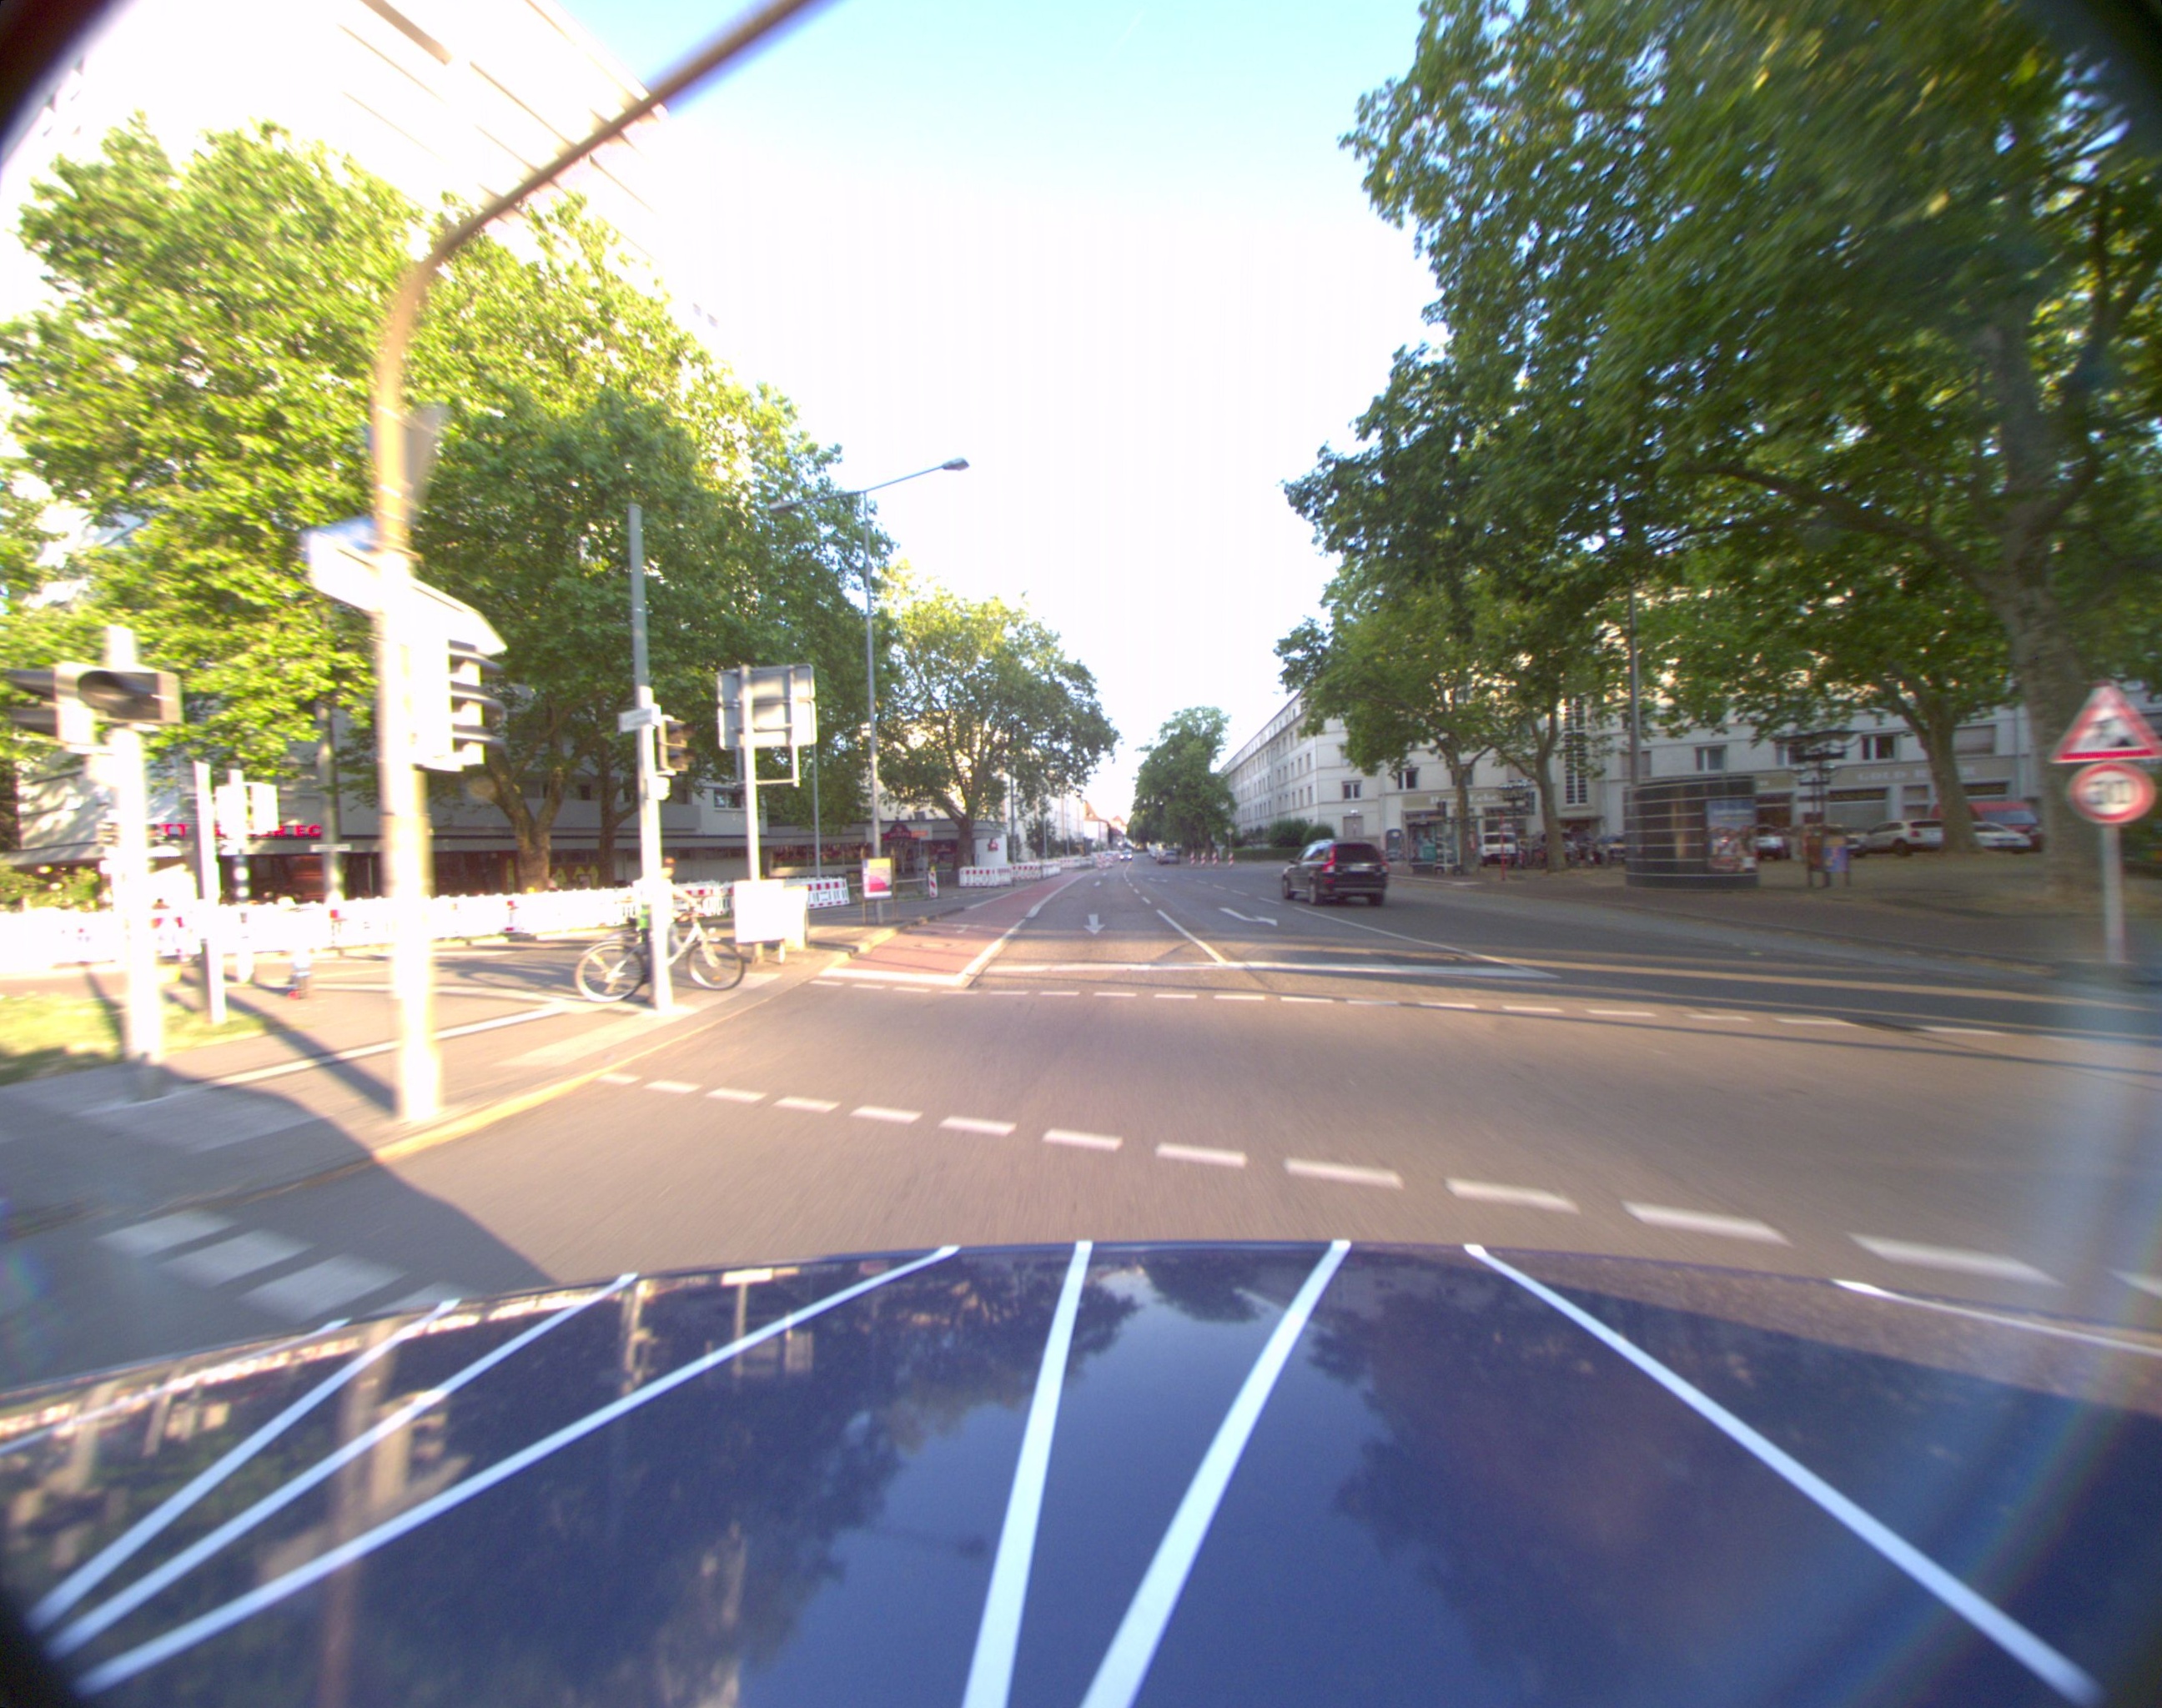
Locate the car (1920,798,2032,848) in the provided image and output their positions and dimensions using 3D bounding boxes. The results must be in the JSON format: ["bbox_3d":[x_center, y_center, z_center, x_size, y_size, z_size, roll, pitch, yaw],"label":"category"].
[{"bbox_3d":[46.932,-1.666,40.018,1.995,2.429,4.646,-1,3,25],"label":"car"}]

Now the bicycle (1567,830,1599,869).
[{"bbox_3d":[22.249,-0.224,33.712,0.808,1.605,2.749,-3,2,27],"label":"bicycle"}]

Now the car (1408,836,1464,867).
[{"bbox_3d":[18.845,-0.117,40.540,1.996,1.494,4.646,-1,0,16],"label":"car"}]

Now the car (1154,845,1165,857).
[{"bbox_3d":[13.908,-0.562,134.176,1.892,1.855,4.260,-3,1,7],"label":"car"}]

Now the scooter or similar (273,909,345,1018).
[{"bbox_3d":[-9.969,1.370,9.802,1.231,1.242,0.516,-2,2,42],"label":"scooter or similar"}]

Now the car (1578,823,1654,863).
[{"bbox_3d":[25.949,-0.489,37.028,1.995,1.771,4.648,-1,0,22],"label":"car"}]

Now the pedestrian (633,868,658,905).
[{"bbox_3d":[-19.484,1.452,34.025,0.641,1.579,0.746,-4,2,-8],"label":"pedestrian"}]

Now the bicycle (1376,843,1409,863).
[{"bbox_3d":[20.273,-0.088,49.457,1.802,1.199,0.648,-2,2,34],"label":"bicycle"}]

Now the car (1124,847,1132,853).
[{"bbox_3d":[13.694,-1.124,222.473,1.892,1.591,4.260,-3,1,7],"label":"car"}]

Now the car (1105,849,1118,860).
[{"bbox_3d":[5.131,0.092,127.167,1.892,1.591,4.260,-3,1,7],"label":"car"}]

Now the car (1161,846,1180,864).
[{"bbox_3d":[9.417,0.084,80.164,1.892,1.591,4.001,-3,1,7],"label":"car"}]

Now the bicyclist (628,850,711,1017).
[{"bbox_3d":[-4.791,0.884,8.839,0.700,1.814,0.627,-4,2,-30],"label":"bicyclist"}]

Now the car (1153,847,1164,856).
[{"bbox_3d":[14.651,-0.457,143.836,1.892,1.591,4.260,-3,1,7],"label":"car"}]

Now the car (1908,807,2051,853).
[{"bbox_3d":[37.918,-0.952,32.269,1.995,1.771,4.648,-1,0,22],"label":"car"}]

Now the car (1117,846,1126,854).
[{"bbox_3d":[9.765,-0.970,182.862,1.892,1.591,4.260,-3,1,7],"label":"car"}]

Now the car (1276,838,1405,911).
[{"bbox_3d":[7.154,0.517,21.548,1.998,1.774,4.797,-2,0,1],"label":"car"}]

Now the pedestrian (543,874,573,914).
[{"bbox_3d":[-21.865,1.647,31.786,0.641,1.579,0.746,-4,2,-4],"label":"pedestrian"}]

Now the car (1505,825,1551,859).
[{"bbox_3d":[27.945,-0.793,47.620,1.995,1.945,4.646,-1,3,25],"label":"car"}]

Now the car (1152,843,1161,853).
[{"bbox_3d":[16.673,-1.378,168.069,1.892,1.868,4.946,-3,1,7],"label":"car"}]

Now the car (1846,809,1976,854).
[{"bbox_3d":[35.620,-0.905,32.809,1.995,1.771,4.648,-1,0,22],"label":"car"}]

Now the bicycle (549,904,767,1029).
[{"bbox_3d":[-4.838,1.242,8.812,2.075,1.103,0.627,-4,2,-30],"label":"bicycle"}]

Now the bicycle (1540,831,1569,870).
[{"bbox_3d":[21.240,-0.200,34.119,0.808,1.605,2.749,-3,2,27],"label":"bicycle"}]

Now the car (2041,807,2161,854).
[{"bbox_3d":[36.968,-0.836,26.646,3.752,1.520,1.676,-2,2,28],"label":"car"}]

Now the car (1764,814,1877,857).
[{"bbox_3d":[32.793,-0.765,33.869,1.995,1.771,4.648,-1,0,22],"label":"car"}]

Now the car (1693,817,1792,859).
[{"bbox_3d":[30.247,-0.674,34.927,1.995,1.771,4.648,-1,0,22],"label":"car"}]

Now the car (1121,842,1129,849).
[{"bbox_3d":[12.139,-2.368,210.825,1.892,1.591,4.260,-3,1,7],"label":"car"}]

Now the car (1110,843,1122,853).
[{"bbox_3d":[6.772,-1.141,147.936,1.892,1.651,4.260,-3,1,7],"label":"car"}]

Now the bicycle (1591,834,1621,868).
[{"bbox_3d":[23.115,-0.144,33.485,0.690,1.376,2.749,-3,2,27],"label":"bicycle"}]

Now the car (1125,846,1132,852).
[{"bbox_3d":[14.400,-1.438,231.692,1.892,1.591,4.260,-3,1,7],"label":"car"}]

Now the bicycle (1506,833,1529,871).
[{"bbox_3d":[19.758,-0.119,34.454,0.690,1.605,2.749,-3,2,27],"label":"bicycle"}]

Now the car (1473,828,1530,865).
[{"bbox_3d":[21.396,-0.339,38.812,1.995,1.771,4.648,-1,0,22],"label":"car"}]

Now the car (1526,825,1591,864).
[{"bbox_3d":[23.852,-0.431,38.137,1.995,1.771,4.648,-1,0,22],"label":"car"}]

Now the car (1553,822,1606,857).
[{"bbox_3d":[30.421,-0.916,46.487,1.995,1.945,4.646,-1,3,25],"label":"car"}]

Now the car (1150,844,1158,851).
[{"bbox_3d":[18.556,-1.728,191.976,1.892,1.591,4.260,-3,1,7],"label":"car"}]

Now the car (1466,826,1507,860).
[{"bbox_3d":[25.810,-0.734,48.475,1.995,1.945,4.646,-1,3,25],"label":"car"}]
